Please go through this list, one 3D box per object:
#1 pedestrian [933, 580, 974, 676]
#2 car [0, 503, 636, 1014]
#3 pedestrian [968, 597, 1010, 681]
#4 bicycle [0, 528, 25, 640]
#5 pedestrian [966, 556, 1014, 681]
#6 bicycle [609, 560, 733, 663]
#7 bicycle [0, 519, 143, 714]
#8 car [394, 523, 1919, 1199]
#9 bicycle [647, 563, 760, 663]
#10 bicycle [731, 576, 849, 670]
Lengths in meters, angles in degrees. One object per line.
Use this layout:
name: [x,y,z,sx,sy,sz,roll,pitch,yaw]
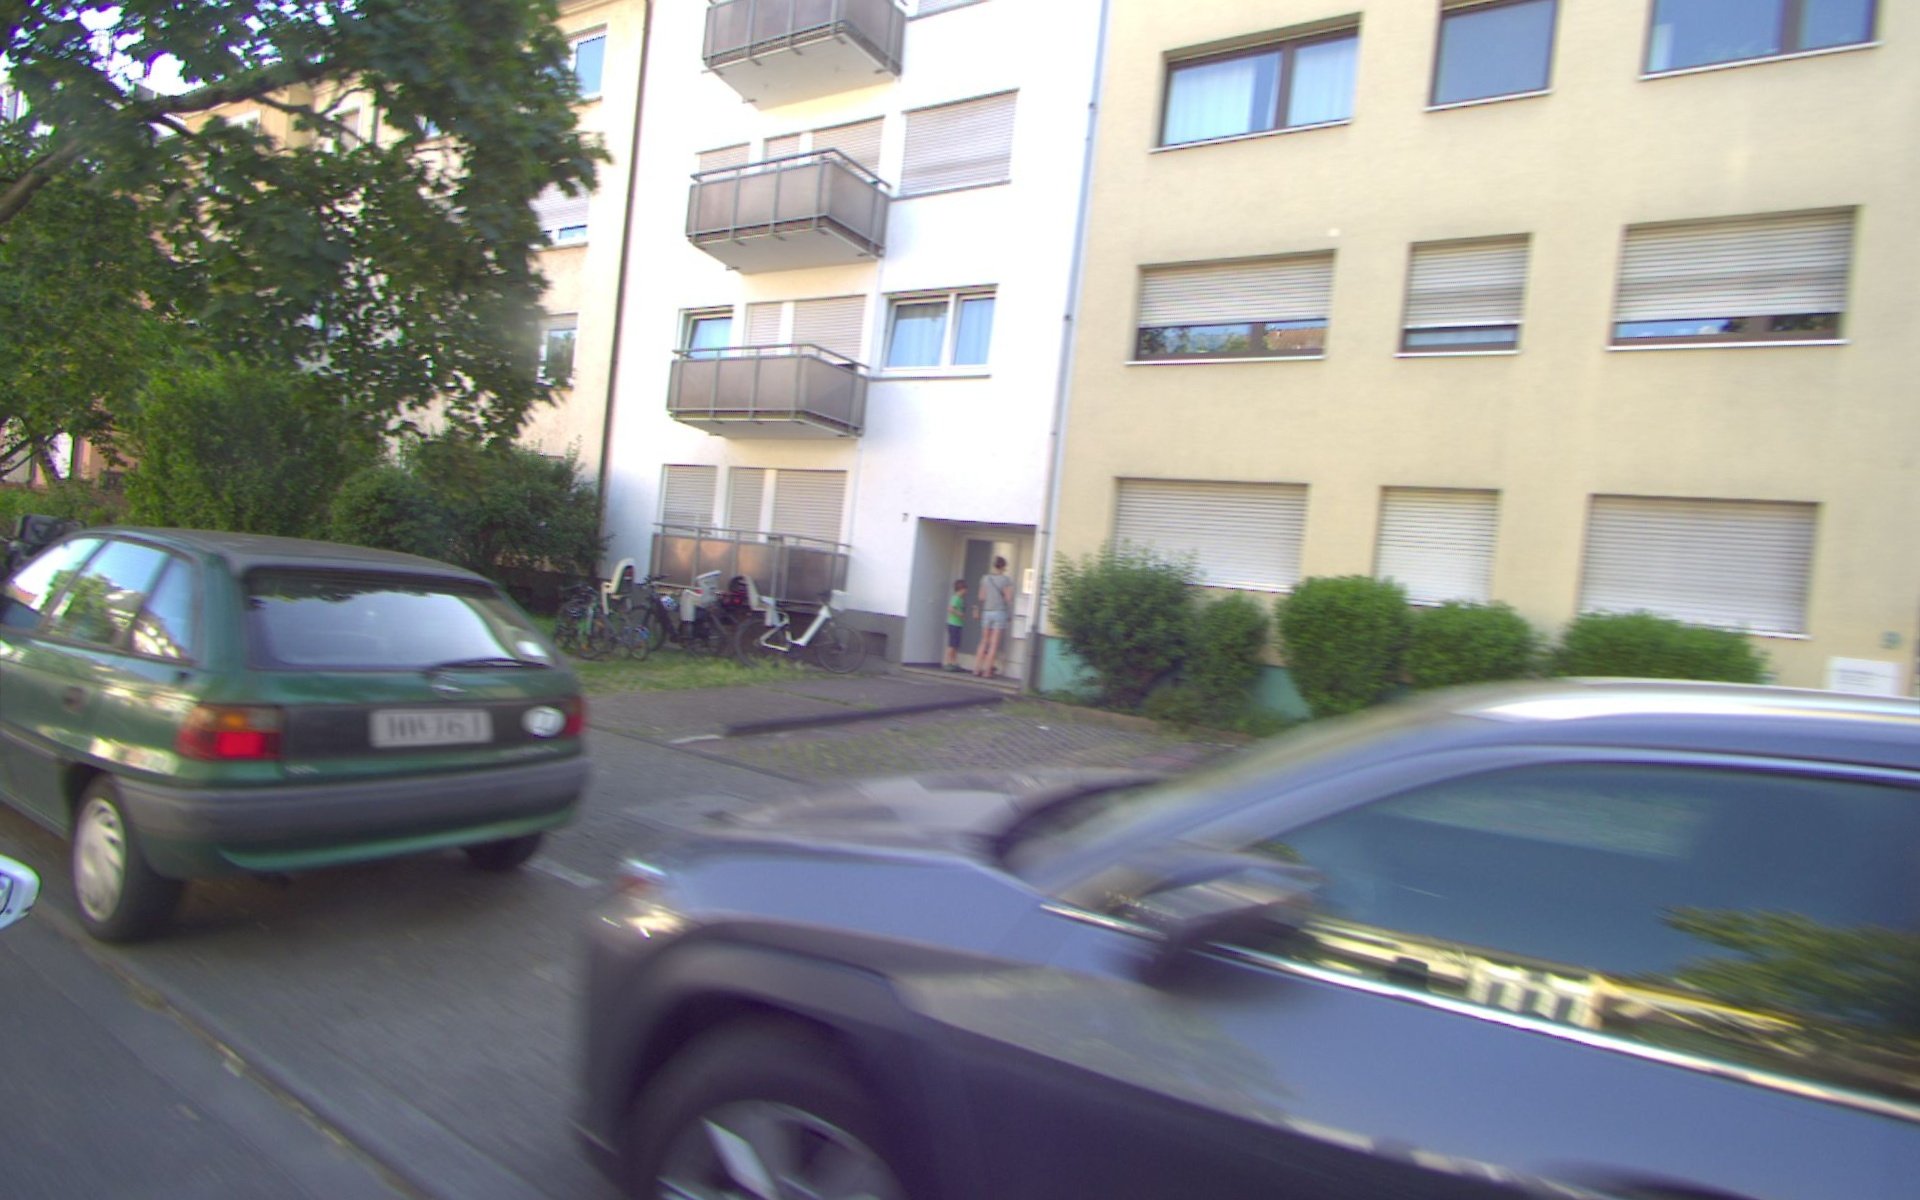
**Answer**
pedestrian: [-0.091,0.431,15.335,0.358,1.399,0.367,7,-2,15]
car: [-3.518,0.378,4.684,3.911,1.401,1.612,7,1,32]
pedestrian: [0.441,0.583,15.240,0.363,1.210,0.337,9,-2,-36]
bicycle: [-9.493,-0.188,8.890,0.517,1.035,1.736,4,1,39]
pedestrian: [0.447,0.274,14.691,0.360,1.756,0.365,7,-2,26]
bicycle: [-4.227,0.147,14.681,1.812,1.305,0.623,7,4,32]
bicycle: [-6.493,0.092,6.906,0.463,1.252,1.665,6,0,-7]
car: [1.030,0.836,1.906,4.162,1.508,1.716,7,1,30]
bicycle: [-3.879,0.179,15.174,1.661,1.305,0.591,7,4,32]
bicycle: [-2.418,0.339,14.386,1.521,1.239,0.460,4,4,-28]
